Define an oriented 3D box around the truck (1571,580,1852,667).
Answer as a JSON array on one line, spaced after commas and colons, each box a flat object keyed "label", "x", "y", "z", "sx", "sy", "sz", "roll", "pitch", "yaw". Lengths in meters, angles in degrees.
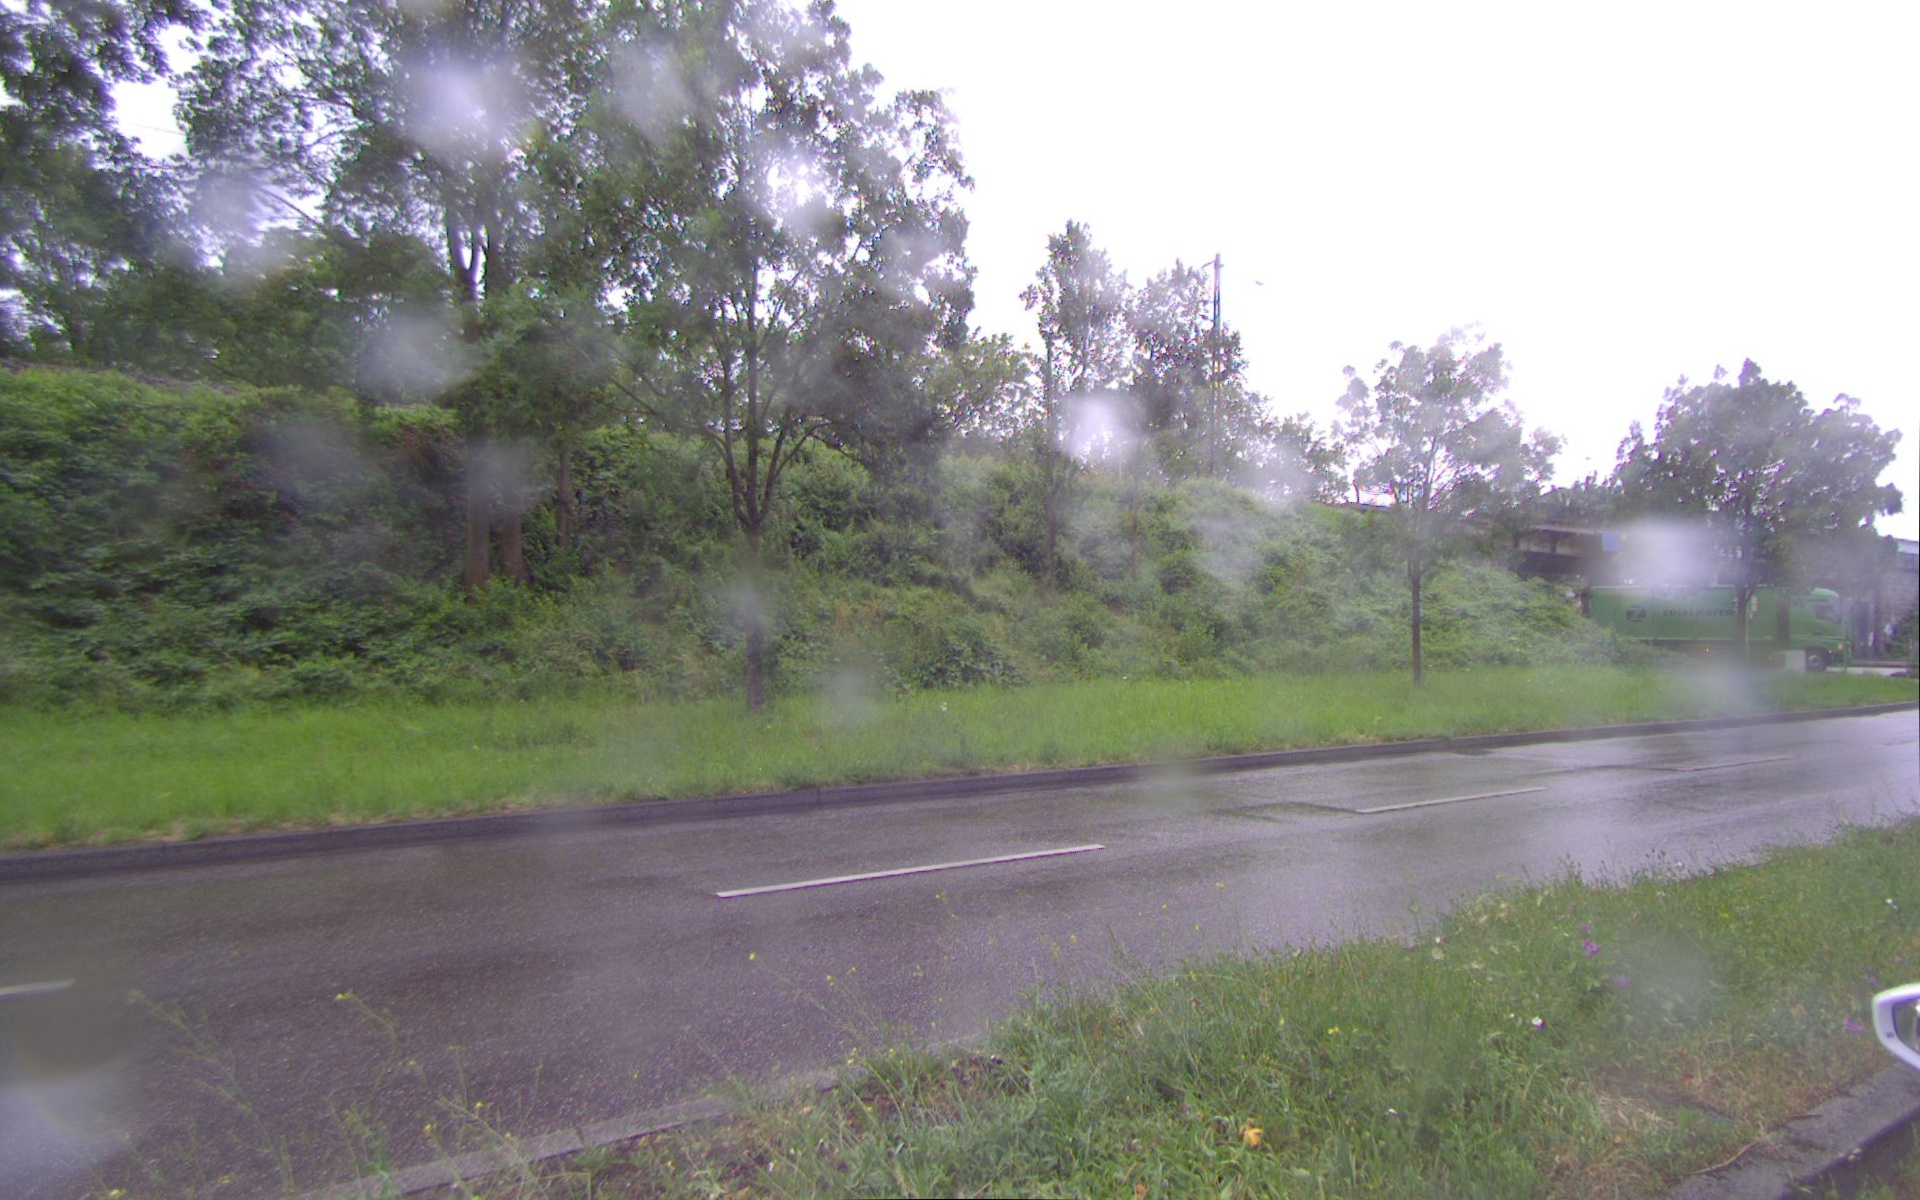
[{"label": "truck", "x": 34.296, "y": 1.030, "z": 46.437, "sx": 9.947, "sy": 3.497, "sz": 2.657, "roll": 2, "pitch": -1, "yaw": 24}]
